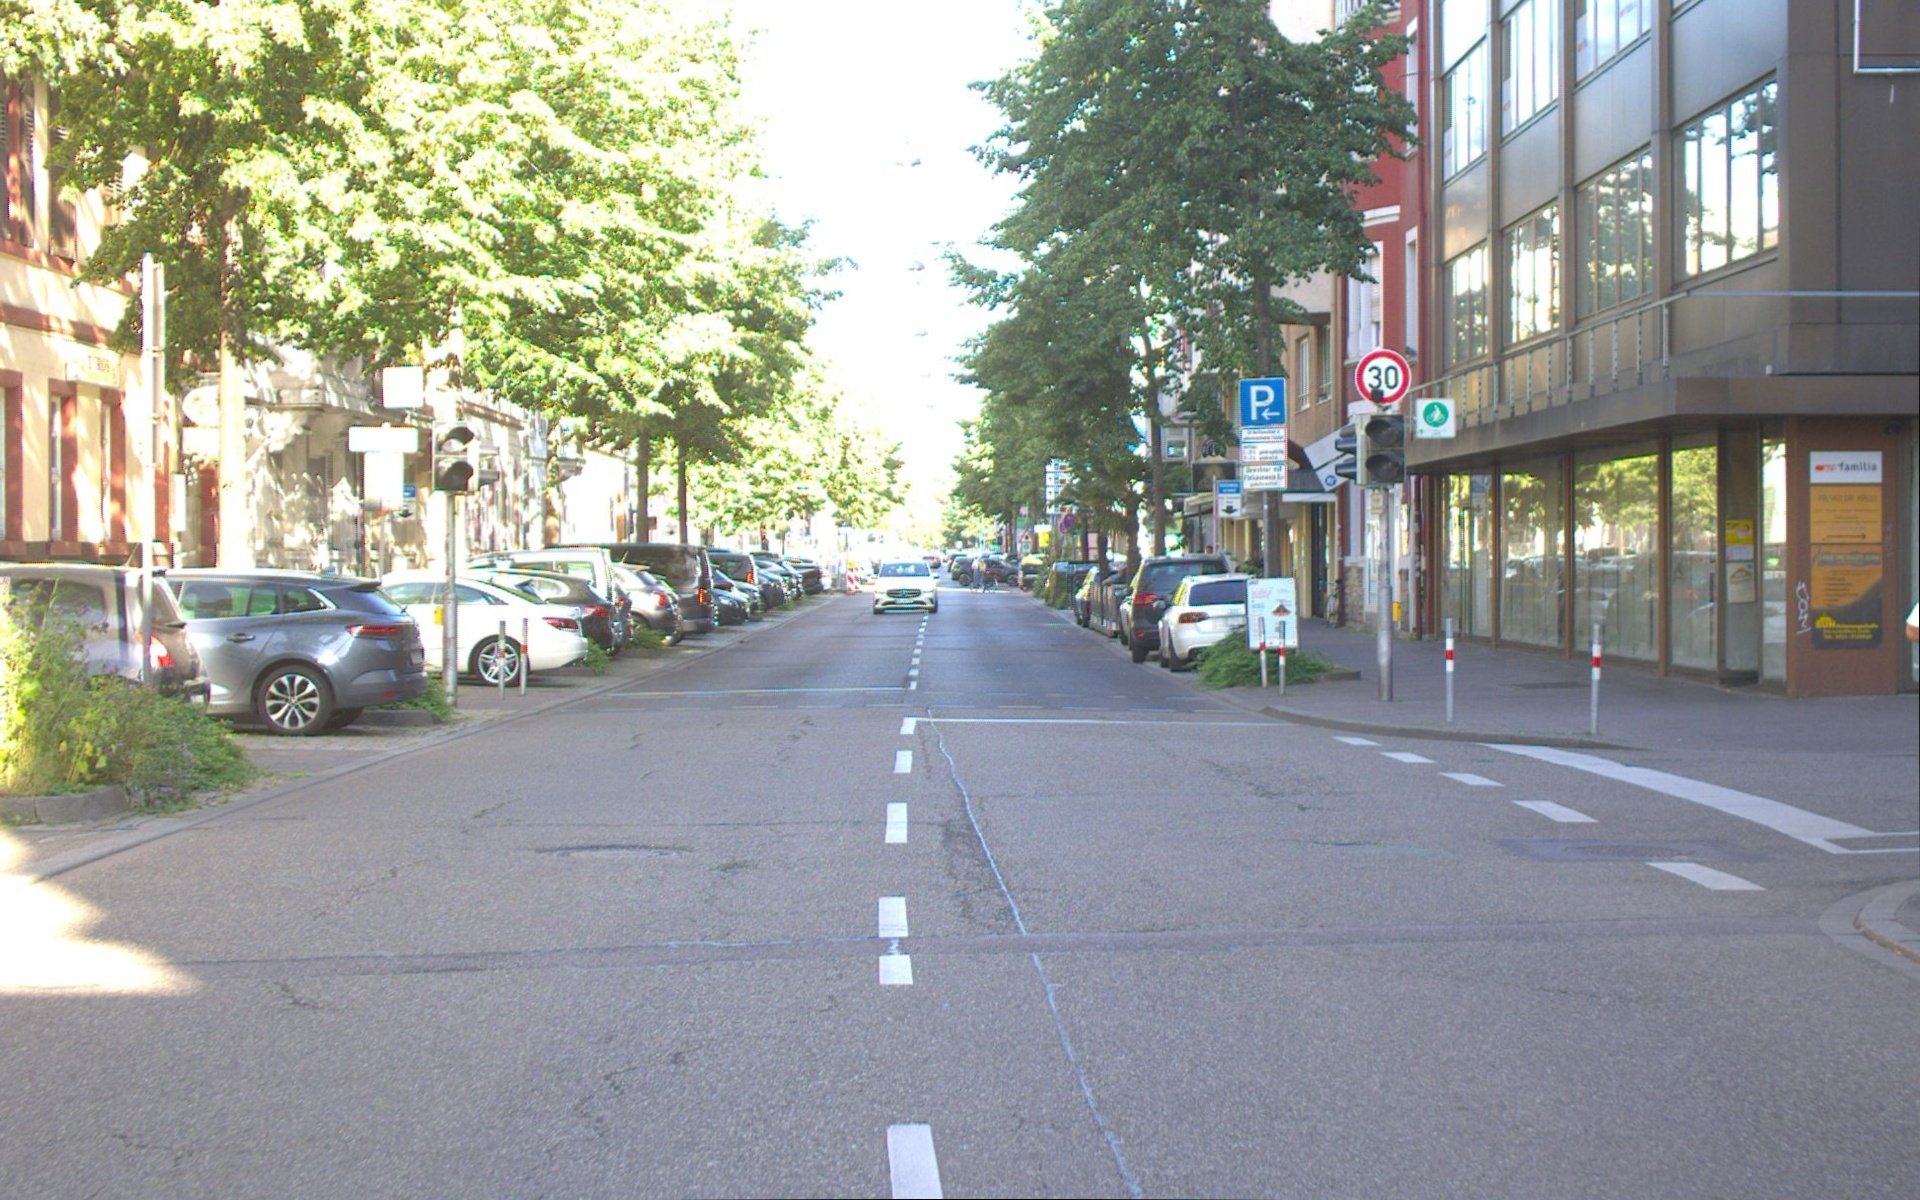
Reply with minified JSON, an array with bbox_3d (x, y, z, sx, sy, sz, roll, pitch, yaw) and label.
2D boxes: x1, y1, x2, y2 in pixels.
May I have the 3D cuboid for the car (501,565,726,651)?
[{"bbox_3d":[-6.452,0.149,64.314,3.987,1.503,2.000,1,0,0],"label":"car"}]

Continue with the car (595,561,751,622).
[{"bbox_3d":[-7.888,-0.229,94.852,3.987,1.503,2.000,2,0,3],"label":"car"}]

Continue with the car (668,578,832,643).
[{"bbox_3d":[-5.424,0.266,89.157,3.987,1.503,2.000,2,0,3],"label":"car"}]

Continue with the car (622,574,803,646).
[{"bbox_3d":[-5.844,0.235,81.413,3.987,1.503,2.000,2,0,3],"label":"car"}]

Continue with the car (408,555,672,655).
[{"bbox_3d":[-6.767,0.074,55.695,3.987,1.503,2.000,1,0,1],"label":"car"}]

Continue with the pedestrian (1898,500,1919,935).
[{"bbox_3d":[4.163,0.475,13.948,0.614,1.729,0.633,1,0,12],"label":"pedestrian"}]

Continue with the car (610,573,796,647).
[{"bbox_3d":[-5.895,0.227,79.259,3.987,1.503,2.000,2,0,3],"label":"car"}]

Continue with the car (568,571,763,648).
[{"bbox_3d":[-6.464,0.203,75.825,3.987,1.503,2.000,2,0,3],"label":"car"}]

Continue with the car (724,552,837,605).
[{"bbox_3d":[-6.941,-0.843,132.928,3.988,2.007,1.999,1,0,10],"label":"car"}]

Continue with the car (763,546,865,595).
[{"bbox_3d":[-6.211,-1.253,146.120,3.988,2.007,1.999,1,0,10],"label":"car"}]

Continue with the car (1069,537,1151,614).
[{"bbox_3d":[4.076,-0.683,93.969,1.993,2.007,4.000,-1,1,-1],"label":"car"}]

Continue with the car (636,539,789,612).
[{"bbox_3d":[-7.039,-0.713,97.938,3.988,2.007,1.999,1,1,10],"label":"car"}]

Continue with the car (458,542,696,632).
[{"bbox_3d":[-6.834,-0.240,61.610,3.987,1.503,2.000,1,0,1],"label":"car"}]

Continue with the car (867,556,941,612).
[{"bbox_3d":[-1.598,-0.447,98.684,1.993,1.550,4.000,1,0,0],"label":"car"}]

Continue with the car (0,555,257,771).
[{"bbox_3d":[-7.405,0.413,25.373,3.987,1.503,2.000,1,0,1],"label":"car"}]

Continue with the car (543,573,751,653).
[{"bbox_3d":[-6.276,0.268,69.312,3.987,1.503,2.000,1,0,0],"label":"car"}]

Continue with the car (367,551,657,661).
[{"bbox_3d":[-6.602,0.081,50.927,3.987,1.503,2.000,1,0,1],"label":"car"}]

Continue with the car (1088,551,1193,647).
[{"bbox_3d":[3.903,-0.018,75.081,1.993,2.007,4.000,1,0,-1],"label":"car"}]

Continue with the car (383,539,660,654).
[{"bbox_3d":[-6.775,-0.054,53.412,3.987,1.668,2.089,1,0,1],"label":"car"}]

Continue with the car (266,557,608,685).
[{"bbox_3d":[-6.585,0.257,43.611,3.987,1.503,2.000,1,0,1],"label":"car"}]

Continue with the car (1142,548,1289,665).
[{"bbox_3d":[3.745,0.105,51.017,1.994,1.612,4.010,2,0,2],"label":"car"}]

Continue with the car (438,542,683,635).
[{"bbox_3d":[-6.893,-0.200,59.618,3.987,1.503,1.894,1,0,1],"label":"car"}]

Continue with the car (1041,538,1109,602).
[{"bbox_3d":[3.674,-0.971,110.874,1.993,2.007,4.000,1,1,-1],"label":"car"}]

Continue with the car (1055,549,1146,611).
[{"bbox_3d":[3.379,-0.489,83.357,1.993,1.448,4.000,1,1,-1],"label":"car"}]

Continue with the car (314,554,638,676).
[{"bbox_3d":[-6.417,0.196,45.894,3.987,1.503,2.000,1,0,1],"label":"car"}]

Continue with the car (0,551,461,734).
[{"bbox_3d":[-6.635,0.361,30.833,3.987,1.503,2.000,1,0,1],"label":"car"}]

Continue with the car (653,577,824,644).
[{"bbox_3d":[-5.520,0.255,85.927,3.987,1.503,2.000,2,0,3],"label":"car"}]

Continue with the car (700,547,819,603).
[{"bbox_3d":[-7.348,-0.932,126.250,3.988,2.007,1.999,1,0,10],"label":"car"}]
